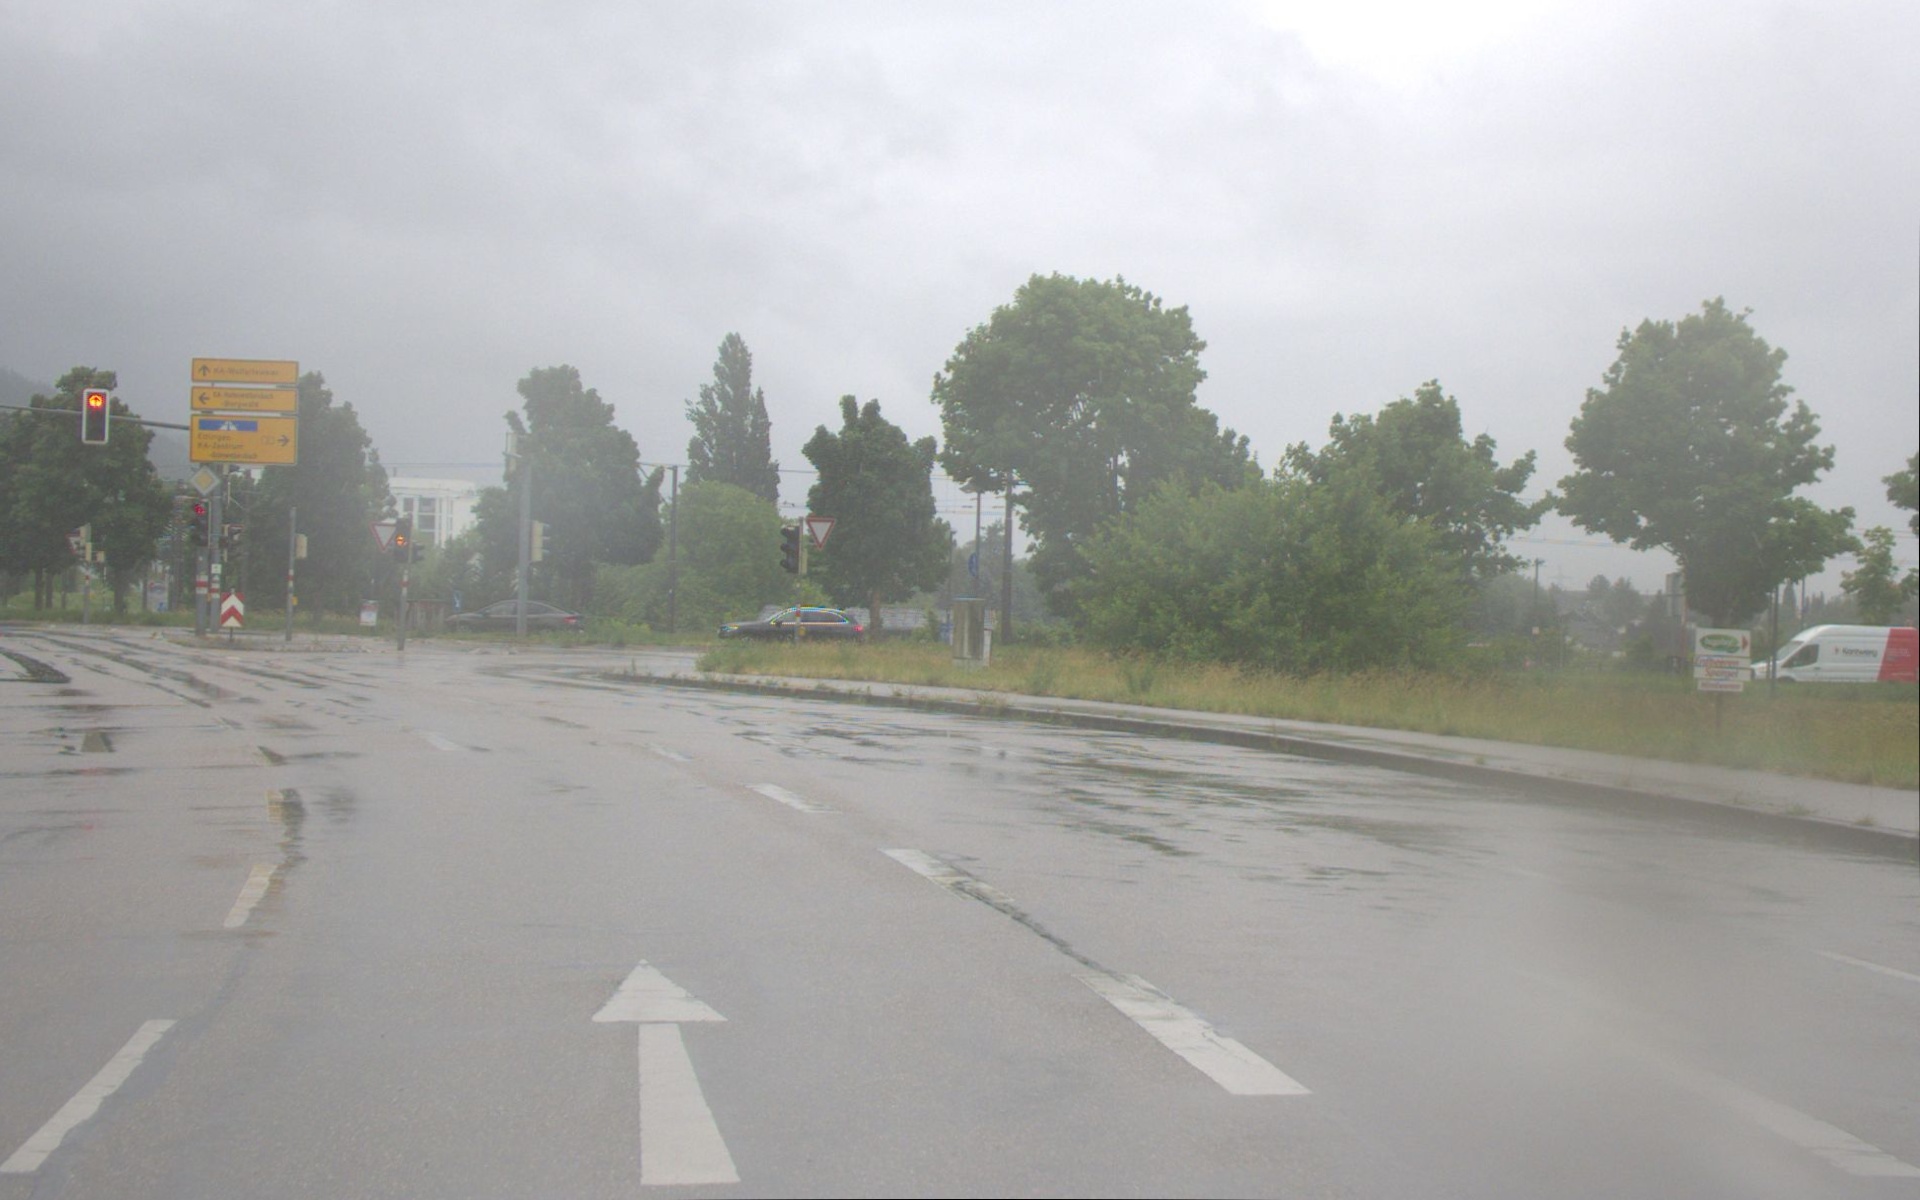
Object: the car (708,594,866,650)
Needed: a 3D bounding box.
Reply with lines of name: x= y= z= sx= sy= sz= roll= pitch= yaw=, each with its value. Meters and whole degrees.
car: x=-5.475 y=0.685 z=108.705 sx=4.668 sy=1.633 sz=1.823 roll=2 pitch=0 yaw=-15
